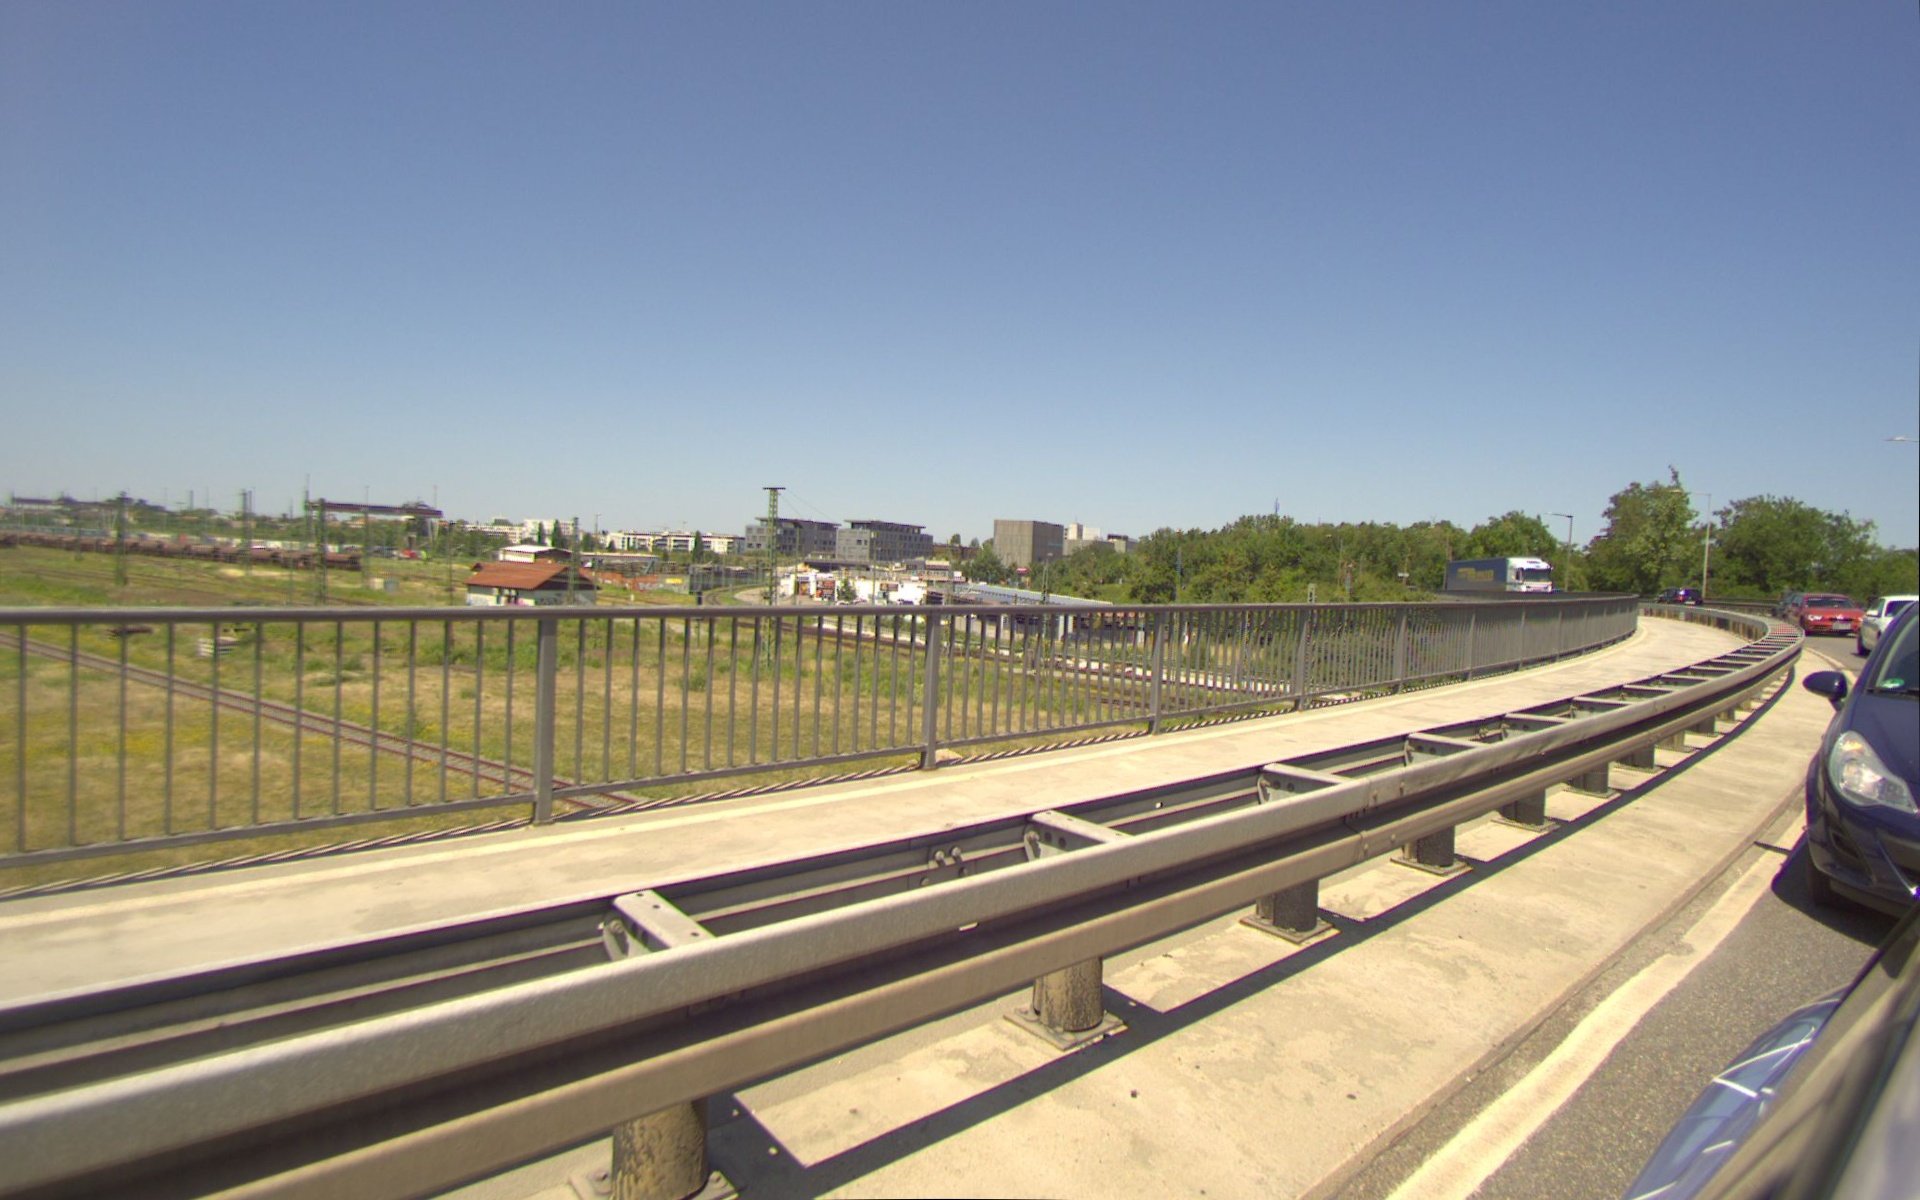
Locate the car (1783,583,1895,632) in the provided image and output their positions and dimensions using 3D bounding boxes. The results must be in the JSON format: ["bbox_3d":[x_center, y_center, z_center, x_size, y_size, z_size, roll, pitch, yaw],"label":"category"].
[{"bbox_3d":[29.597,0.195,34.245,1.779,1.473,4.481,2,2,27],"label":"car"}]

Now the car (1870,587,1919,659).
[{"bbox_3d":[21.629,0.460,22.604,1.788,1.473,4.457,1,1,40],"label":"car"}]

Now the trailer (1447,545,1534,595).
[{"bbox_3d":[48.450,-2.708,93.016,2.656,4.287,12.692,0,1,7],"label":"trailer"}]

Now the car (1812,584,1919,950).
[{"bbox_3d":[5.553,0.656,5.071,1.641,1.457,3.935,1,1,45],"label":"car"}]

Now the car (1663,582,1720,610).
[{"bbox_3d":[46.717,-0.282,64.712,1.755,1.646,4.228,1,2,18],"label":"car"}]

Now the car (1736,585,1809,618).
[{"bbox_3d":[39.456,0.022,49.253,1.760,1.456,4.354,1,2,25],"label":"car"}]

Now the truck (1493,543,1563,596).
[{"bbox_3d":[47.511,-2.521,84.836,2.650,4.281,6.828,-1,1,7],"label":"truck"}]
